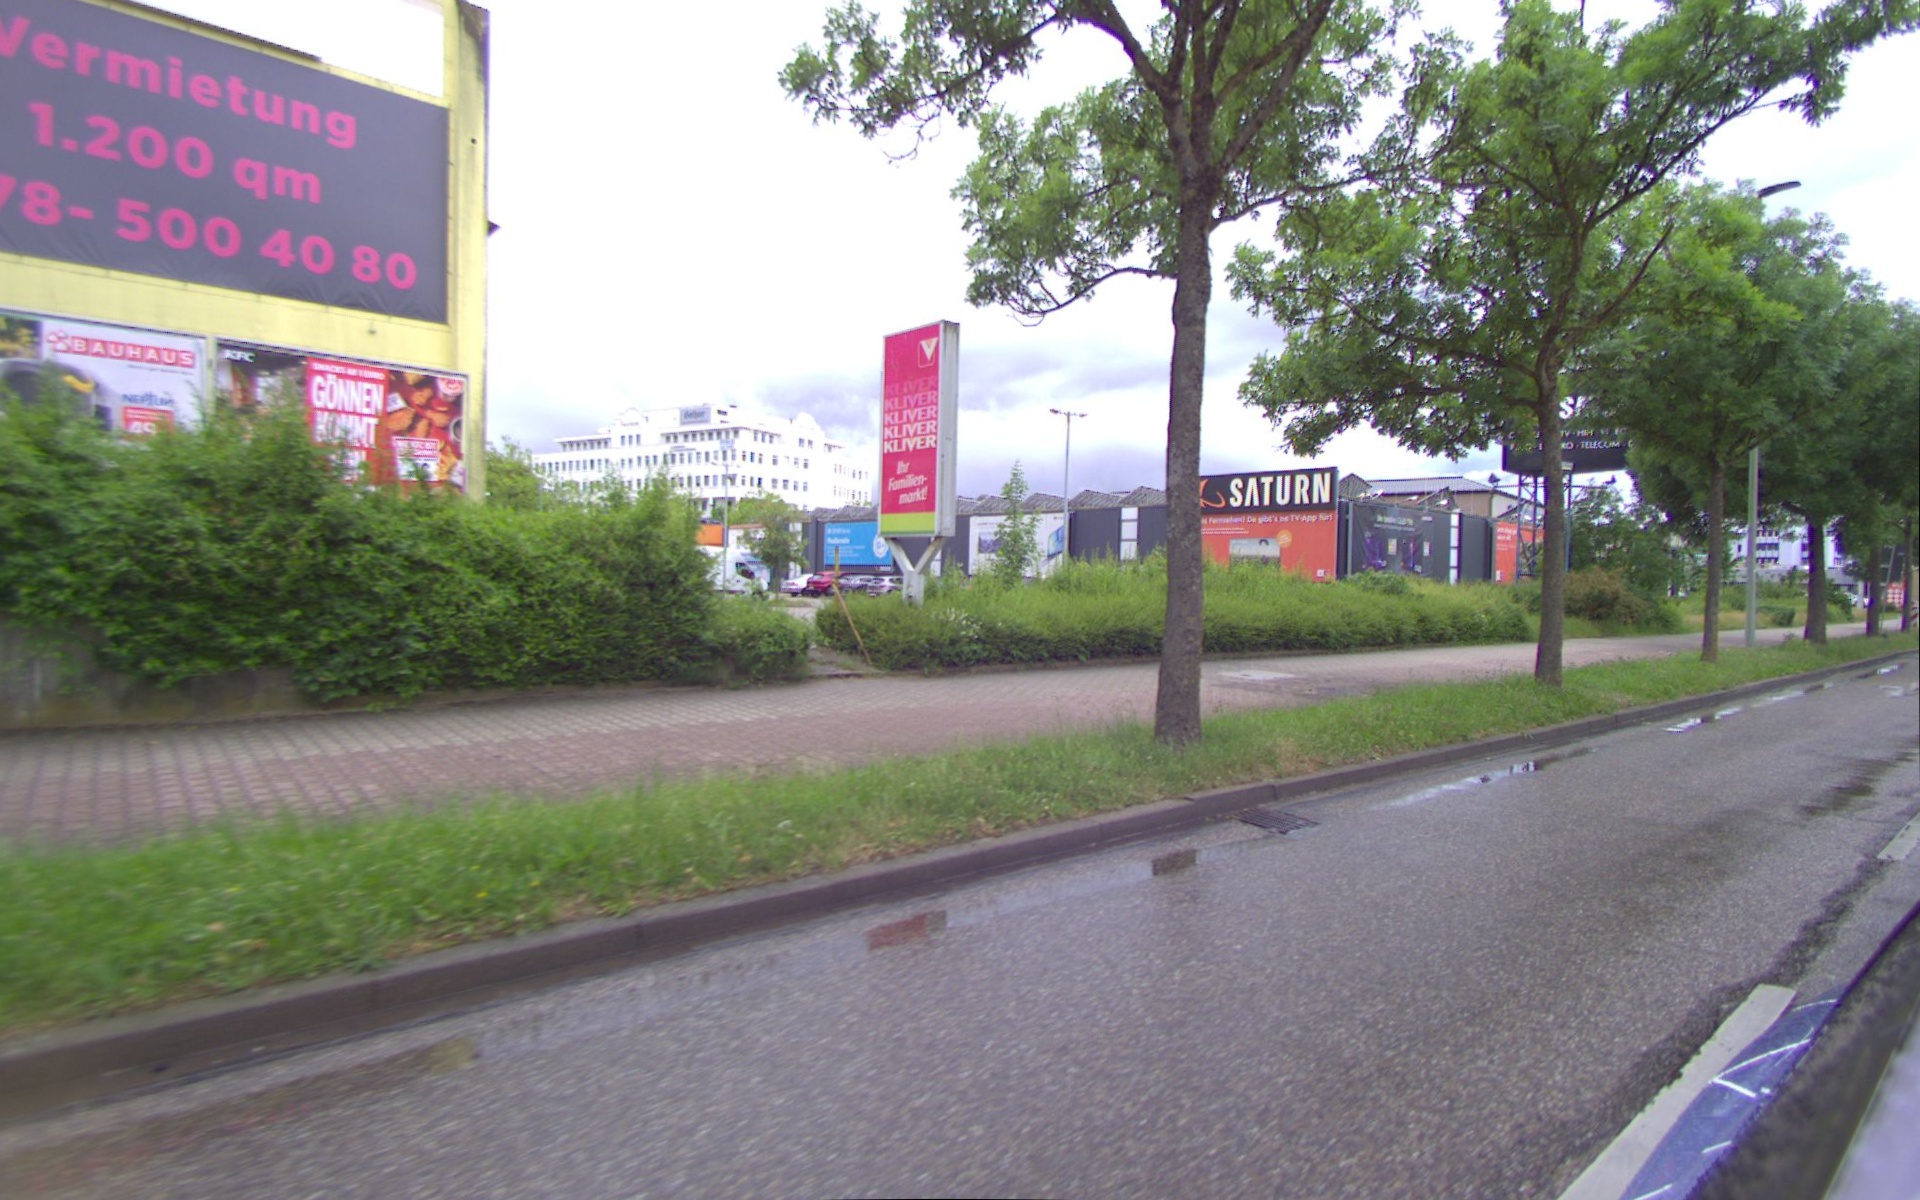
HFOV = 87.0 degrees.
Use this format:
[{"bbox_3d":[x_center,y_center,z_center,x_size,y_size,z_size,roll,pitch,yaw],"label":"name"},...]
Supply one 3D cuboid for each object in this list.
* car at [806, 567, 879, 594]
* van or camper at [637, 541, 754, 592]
[{"bbox_3d":[-7.280,-1.216,62.917,4.291,1.594,1.906,0,1,-44],"label":"car"},{"bbox_3d":[-12.474,-1.558,47.877,4.936,2.282,2.153,0,1,-41],"label":"van or camper"}]
